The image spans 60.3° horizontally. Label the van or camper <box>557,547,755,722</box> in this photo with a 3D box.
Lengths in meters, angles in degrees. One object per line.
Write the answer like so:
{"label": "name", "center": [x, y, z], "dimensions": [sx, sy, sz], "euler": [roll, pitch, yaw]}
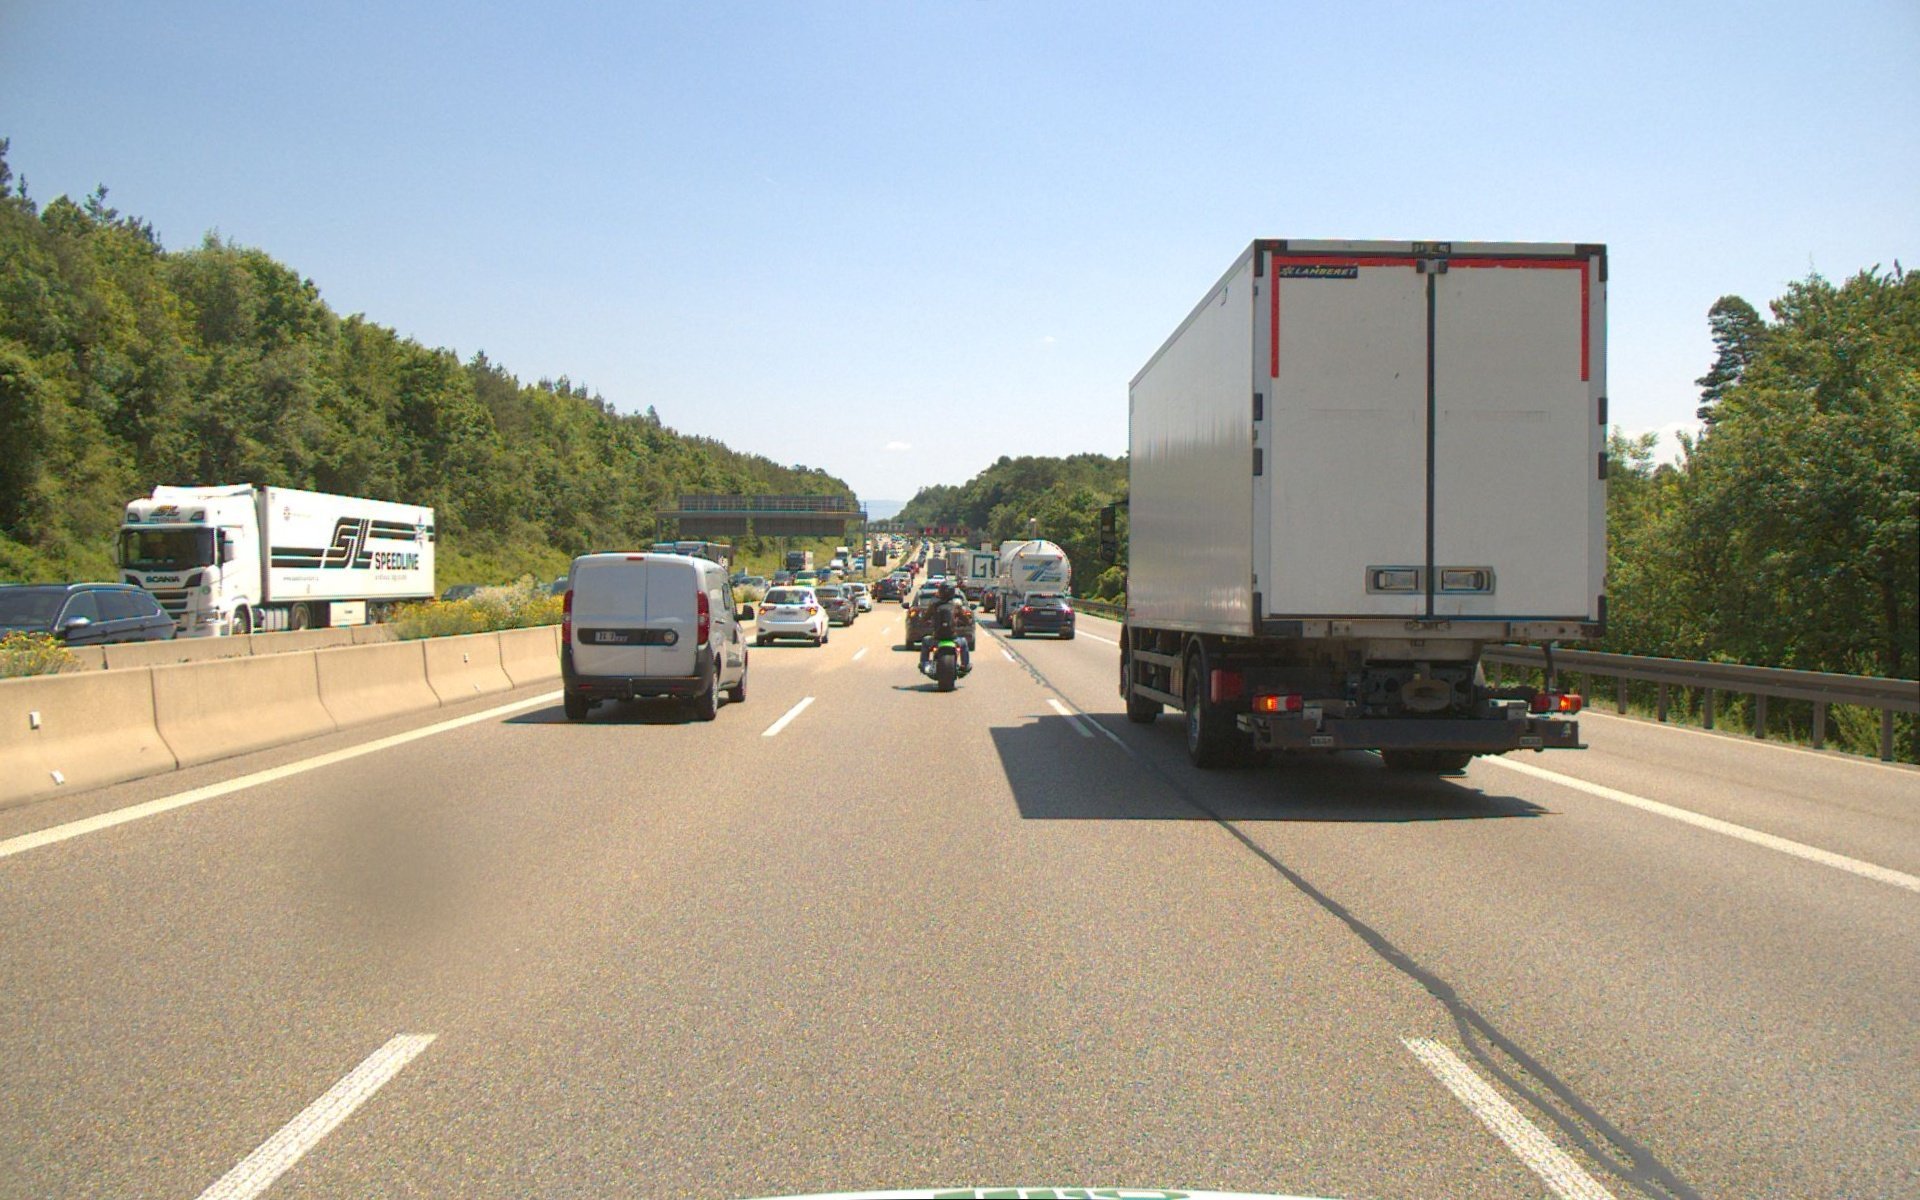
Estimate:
{"label": "van or camper", "center": [-3.628, 0.391, 20.429], "dimensions": [1.760, 1.925, 4.158], "euler": [1, 0, -2]}

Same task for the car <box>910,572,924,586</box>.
{"label": "car", "center": [-6.393, -3.085, 245.799], "dimensions": [1.953, 2.049, 4.000], "euler": [1, 1, -1]}

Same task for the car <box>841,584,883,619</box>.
{"label": "car", "center": [-4.378, 0.039, 74.249], "dimensions": [1.665, 1.504, 4.000], "euler": [0, 1, -1]}

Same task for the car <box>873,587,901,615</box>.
{"label": "car", "center": [-5.597, 0.099, 127.953], "dimensions": [1.953, 2.049, 4.000], "euler": [-2, 0, 0]}

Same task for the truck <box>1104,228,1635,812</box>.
{"label": "truck", "center": [3.269, -0.583, 16.349], "dimensions": [2.633, 3.943, 9.779], "euler": [-2, 0, 0]}

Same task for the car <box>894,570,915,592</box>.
{"label": "car", "center": [-5.339, -1.862, 160.454], "dimensions": [1.890, 2.049, 4.000], "euler": [-2, 0, 0]}

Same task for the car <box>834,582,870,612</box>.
{"label": "car", "center": [-5.611, -0.153, 85.991], "dimensions": [1.665, 1.504, 4.000], "euler": [0, 1, -1]}

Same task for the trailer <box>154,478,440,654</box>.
{"label": "trailer", "center": [-18.971, -0.842, 48.846], "dimensions": [2.745, 4.414, 14.036], "euler": [-1, 0, 0]}

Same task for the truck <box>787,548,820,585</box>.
{"label": "truck", "center": [-20.438, -4.382, 216.521], "dimensions": [3.649, 4.607, 7.324], "euler": [-2, 0, -2]}

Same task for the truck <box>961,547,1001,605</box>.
{"label": "truck", "center": [1.720, -1.978, 138.972], "dimensions": [2.971, 4.621, 9.981], "euler": [1, 1, -1]}

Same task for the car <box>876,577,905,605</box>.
{"label": "car", "center": [-4.826, -0.671, 115.345], "dimensions": [1.841, 1.892, 4.000], "euler": [1, 1, -1]}

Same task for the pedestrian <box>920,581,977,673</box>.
{"label": "pedestrian", "center": [-0.165, 0.409, 25.710], "dimensions": [0.832, 1.385, 0.961], "euler": [-2, 0, 0]}

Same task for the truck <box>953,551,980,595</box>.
{"label": "truck", "center": [0.737, -3.358, 204.103], "dimensions": [2.971, 5.229, 9.981], "euler": [1, 1, -1]}

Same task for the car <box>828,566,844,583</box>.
{"label": "car", "center": [-18.045, -3.637, 240.676], "dimensions": [1.953, 2.418, 7.363], "euler": [0, 1, -1]}

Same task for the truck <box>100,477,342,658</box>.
{"label": "truck", "center": [-18.943, -0.758, 43.010], "dimensions": [2.745, 4.238, 7.600], "euler": [-1, 0, 1]}

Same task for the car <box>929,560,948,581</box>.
{"label": "car", "center": [-2.713, -3.732, 208.826], "dimensions": [2.453, 2.632, 5.015], "euler": [0, 1, -1]}

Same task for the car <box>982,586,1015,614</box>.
{"label": "car", "center": [2.155, -0.014, 94.212], "dimensions": [1.751, 1.583, 3.803], "euler": [0, 1, -1]}

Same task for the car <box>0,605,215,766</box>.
{"label": "car", "center": [-10.892, 0.920, 19.883], "dimensions": [1.867, 1.668, 4.536], "euler": [0, 0, -1]}

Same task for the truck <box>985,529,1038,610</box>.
{"label": "truck", "center": [2.339, -1.346, 76.650], "dimensions": [1.954, 3.584, 4.748], "euler": [-2, 0, -3]}

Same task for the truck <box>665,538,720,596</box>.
{"label": "truck", "center": [-19.958, -2.378, 123.608], "dimensions": [2.847, 4.043, 7.767], "euler": [-2, 0, -1]}

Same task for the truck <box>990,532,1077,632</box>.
{"label": "truck", "center": [2.895, -0.660, 67.664], "dimensions": [2.927, 3.735, 9.286], "euler": [-2, 0, -1]}

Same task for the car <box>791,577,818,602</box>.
{"label": "car", "center": [-13.168, -0.878, 140.017], "dimensions": [1.841, 2.049, 4.468], "euler": [-3, 0, -1]}

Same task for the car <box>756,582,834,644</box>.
{"label": "car", "center": [-4.253, 0.297, 43.009], "dimensions": [1.665, 1.504, 4.000], "euler": [0, 1, -1]}

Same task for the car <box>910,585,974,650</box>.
{"label": "car", "center": [-0.486, 0.412, 41.784], "dimensions": [1.502, 1.536, 3.999], "euler": [-2, 0, -1]}

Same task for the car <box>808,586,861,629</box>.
{"label": "car", "center": [-4.578, 0.258, 60.820], "dimensions": [1.665, 1.504, 4.000], "euler": [0, 1, -1]}

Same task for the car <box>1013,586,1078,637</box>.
{"label": "car", "center": [2.675, 0.333, 52.745], "dimensions": [1.791, 1.496, 4.000], "euler": [1, 1, -1]}

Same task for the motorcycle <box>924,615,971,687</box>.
{"label": "motorcycle", "center": [-0.182, 0.768, 25.616], "dimensions": [0.677, 1.033, 2.121], "euler": [1, 0, 0]}

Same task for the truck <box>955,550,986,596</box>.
{"label": "truck", "center": [1.058, -2.810, 174.414], "dimensions": [2.971, 4.621, 9.981], "euler": [1, 1, -1]}
